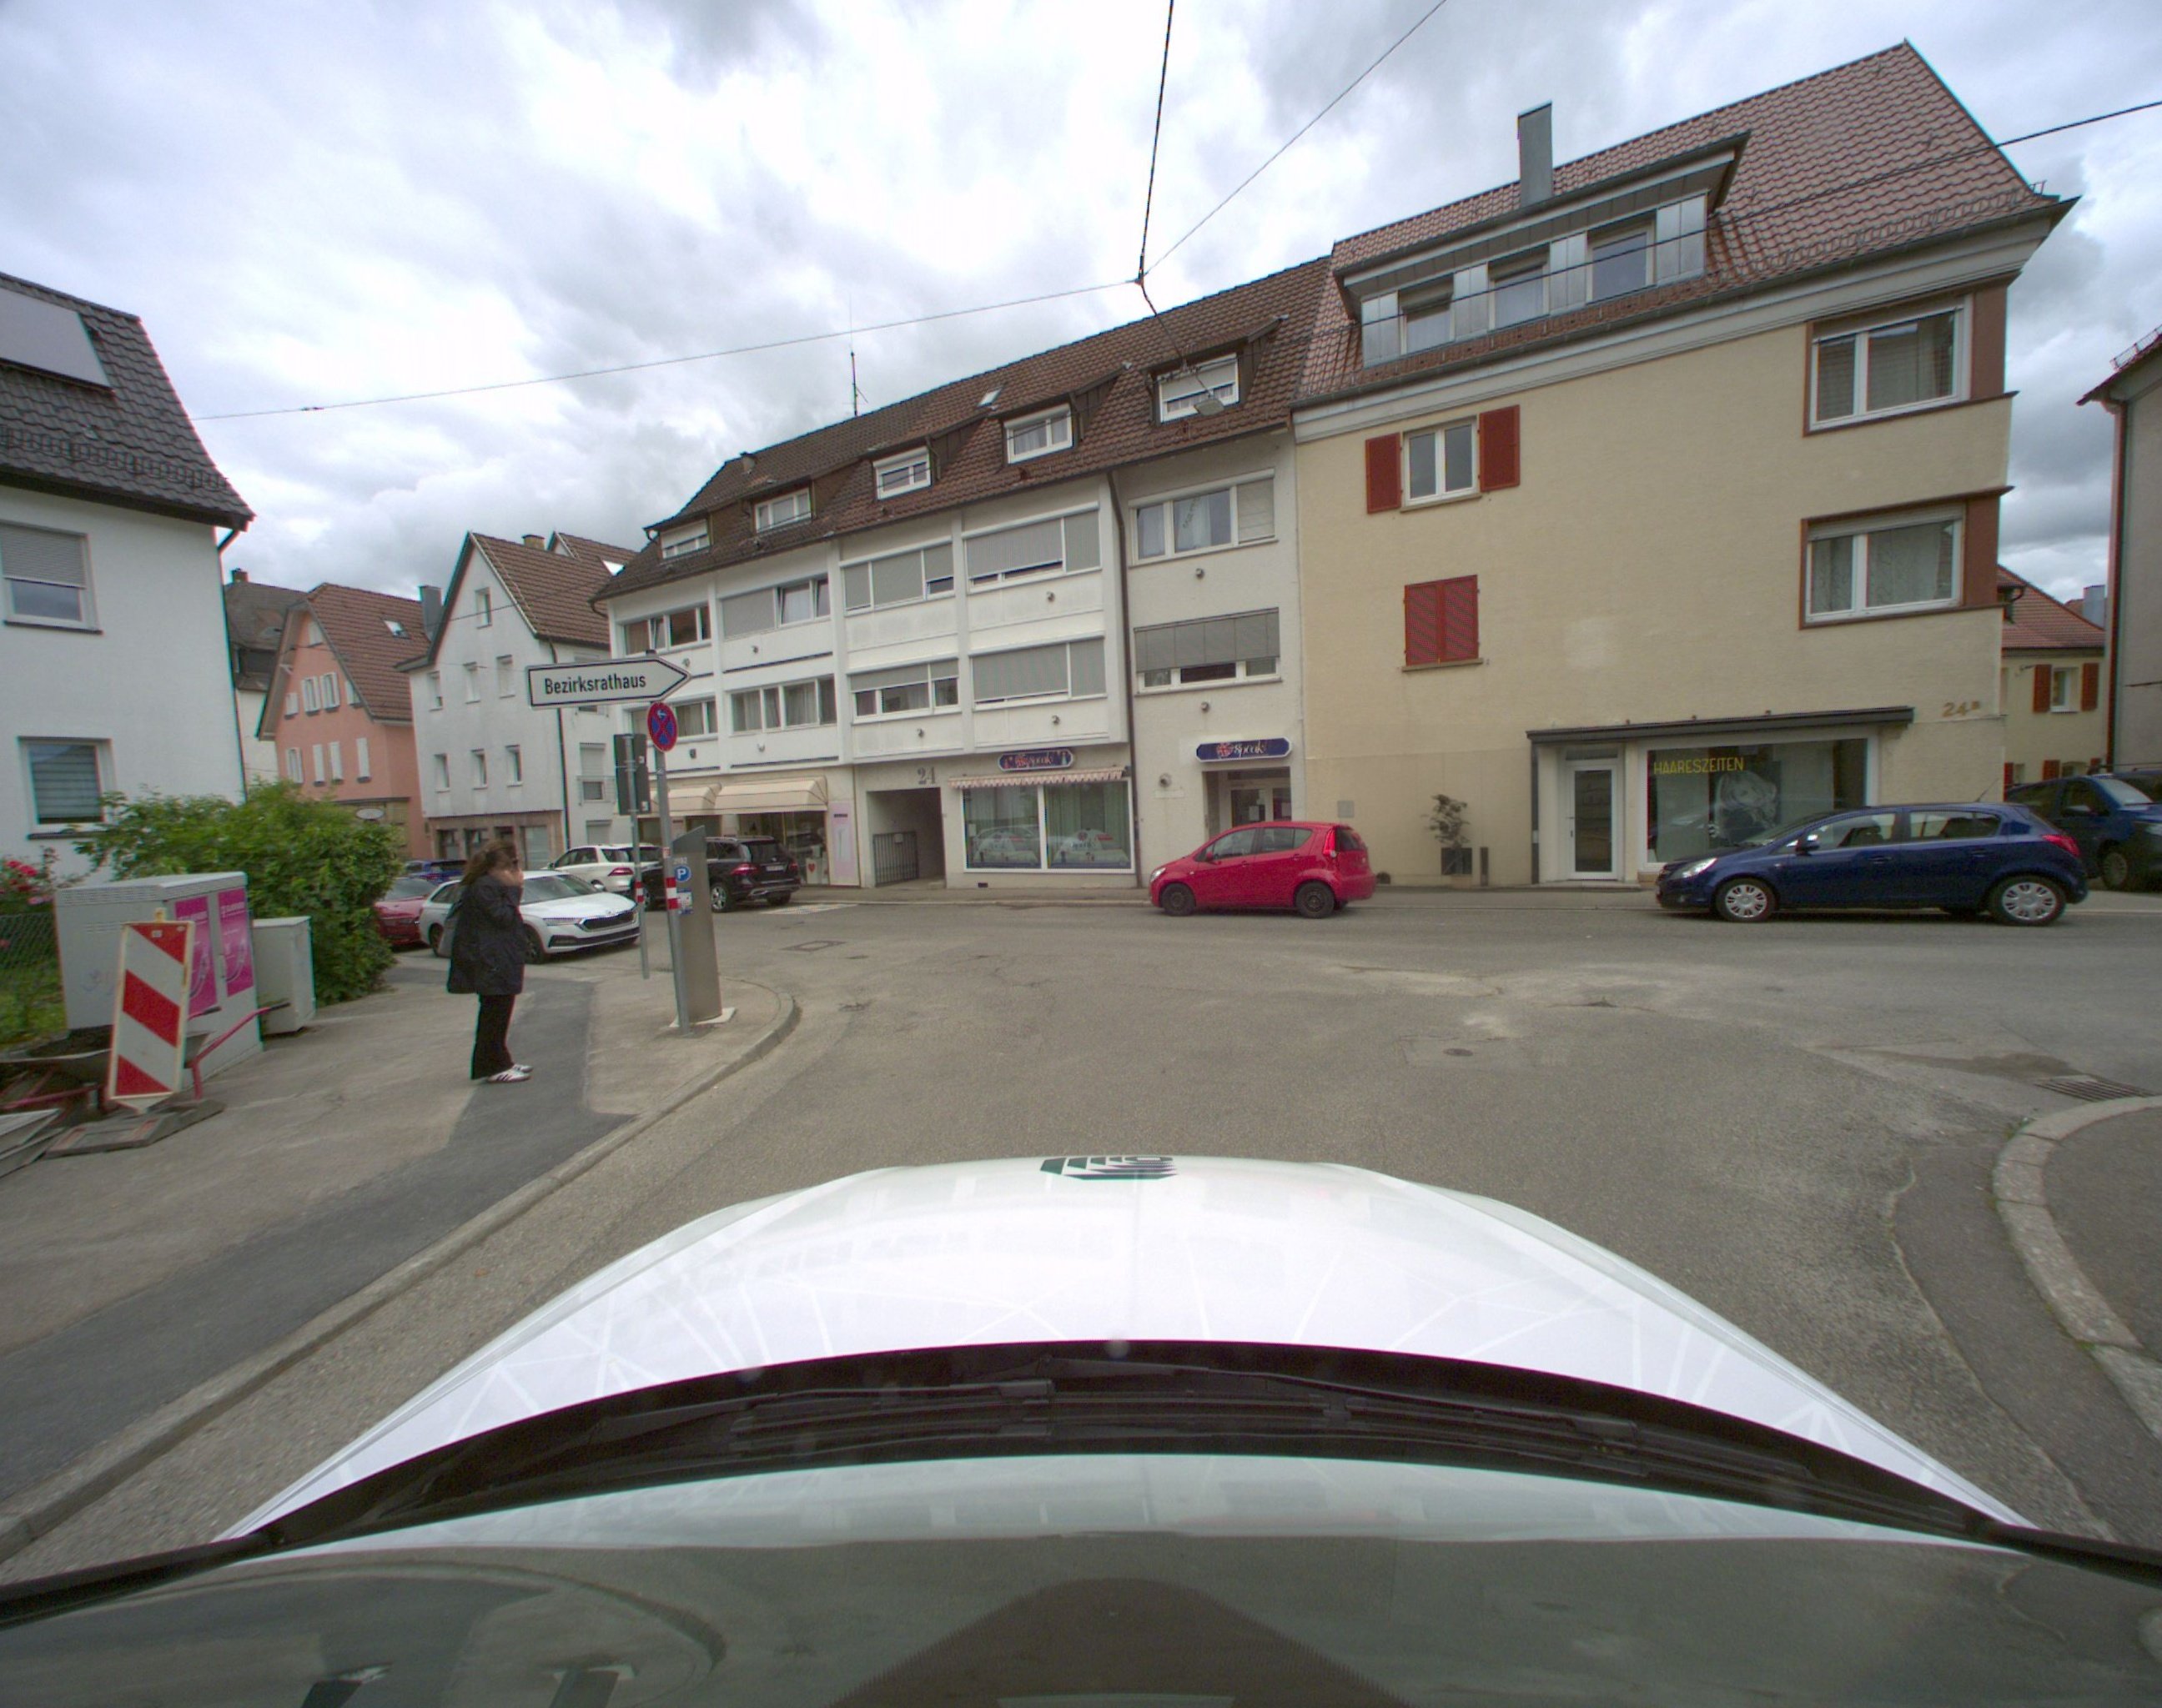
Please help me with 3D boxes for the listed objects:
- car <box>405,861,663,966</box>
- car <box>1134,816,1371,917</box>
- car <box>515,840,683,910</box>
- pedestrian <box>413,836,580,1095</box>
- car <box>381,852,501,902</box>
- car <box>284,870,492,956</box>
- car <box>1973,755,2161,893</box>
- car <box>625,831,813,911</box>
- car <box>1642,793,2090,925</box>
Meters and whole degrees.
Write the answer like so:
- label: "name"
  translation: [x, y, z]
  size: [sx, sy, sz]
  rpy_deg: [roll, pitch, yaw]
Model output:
- label: "car"
  translation: [-9.784, 1.006, 14.543]
  size: [4.242, 1.460, 1.810]
  rpy_deg: [-2, 5, 26]
- label: "car"
  translation: [2.981, 0.209, 14.229]
  size: [3.648, 1.556, 1.708]
  rpy_deg: [-2, 1, 30]
- label: "car"
  translation: [-13.521, 0.553, 22.831]
  size: [4.321, 1.711, 1.952]
  rpy_deg: [-1, 3, 27]
- label: "pedestrian"
  translation: [-4.035, 0.730, 5.666]
  size: [0.644, 1.684, 0.604]
  rpy_deg: [-2, 1, 0]
- label: "car"
  translation: [-21.947, 0.788, 27.908]
  size: [3.734, 1.474, 1.791]
  rpy_deg: [-2, 3, 28]
- label: "car"
  translation: [-14.510, 1.179, 17.029]
  size: [4.118, 1.416, 1.786]
  rpy_deg: [-2, 5, 28]
- label: "car"
  translation: [16.487, -0.450, 12.753]
  size: [1.928, 1.866, 4.933]
  rpy_deg: [-2, 0, 30]
- label: "car"
  translation: [-9.076, 0.441, 20.383]
  size: [4.313, 1.779, 1.960]
  rpy_deg: [-2, 2, 28]
- label: "car"
  translation: [9.762, 0.087, 10.611]
  size: [3.870, 1.450, 1.708]
  rpy_deg: [-2, 0, 29]
